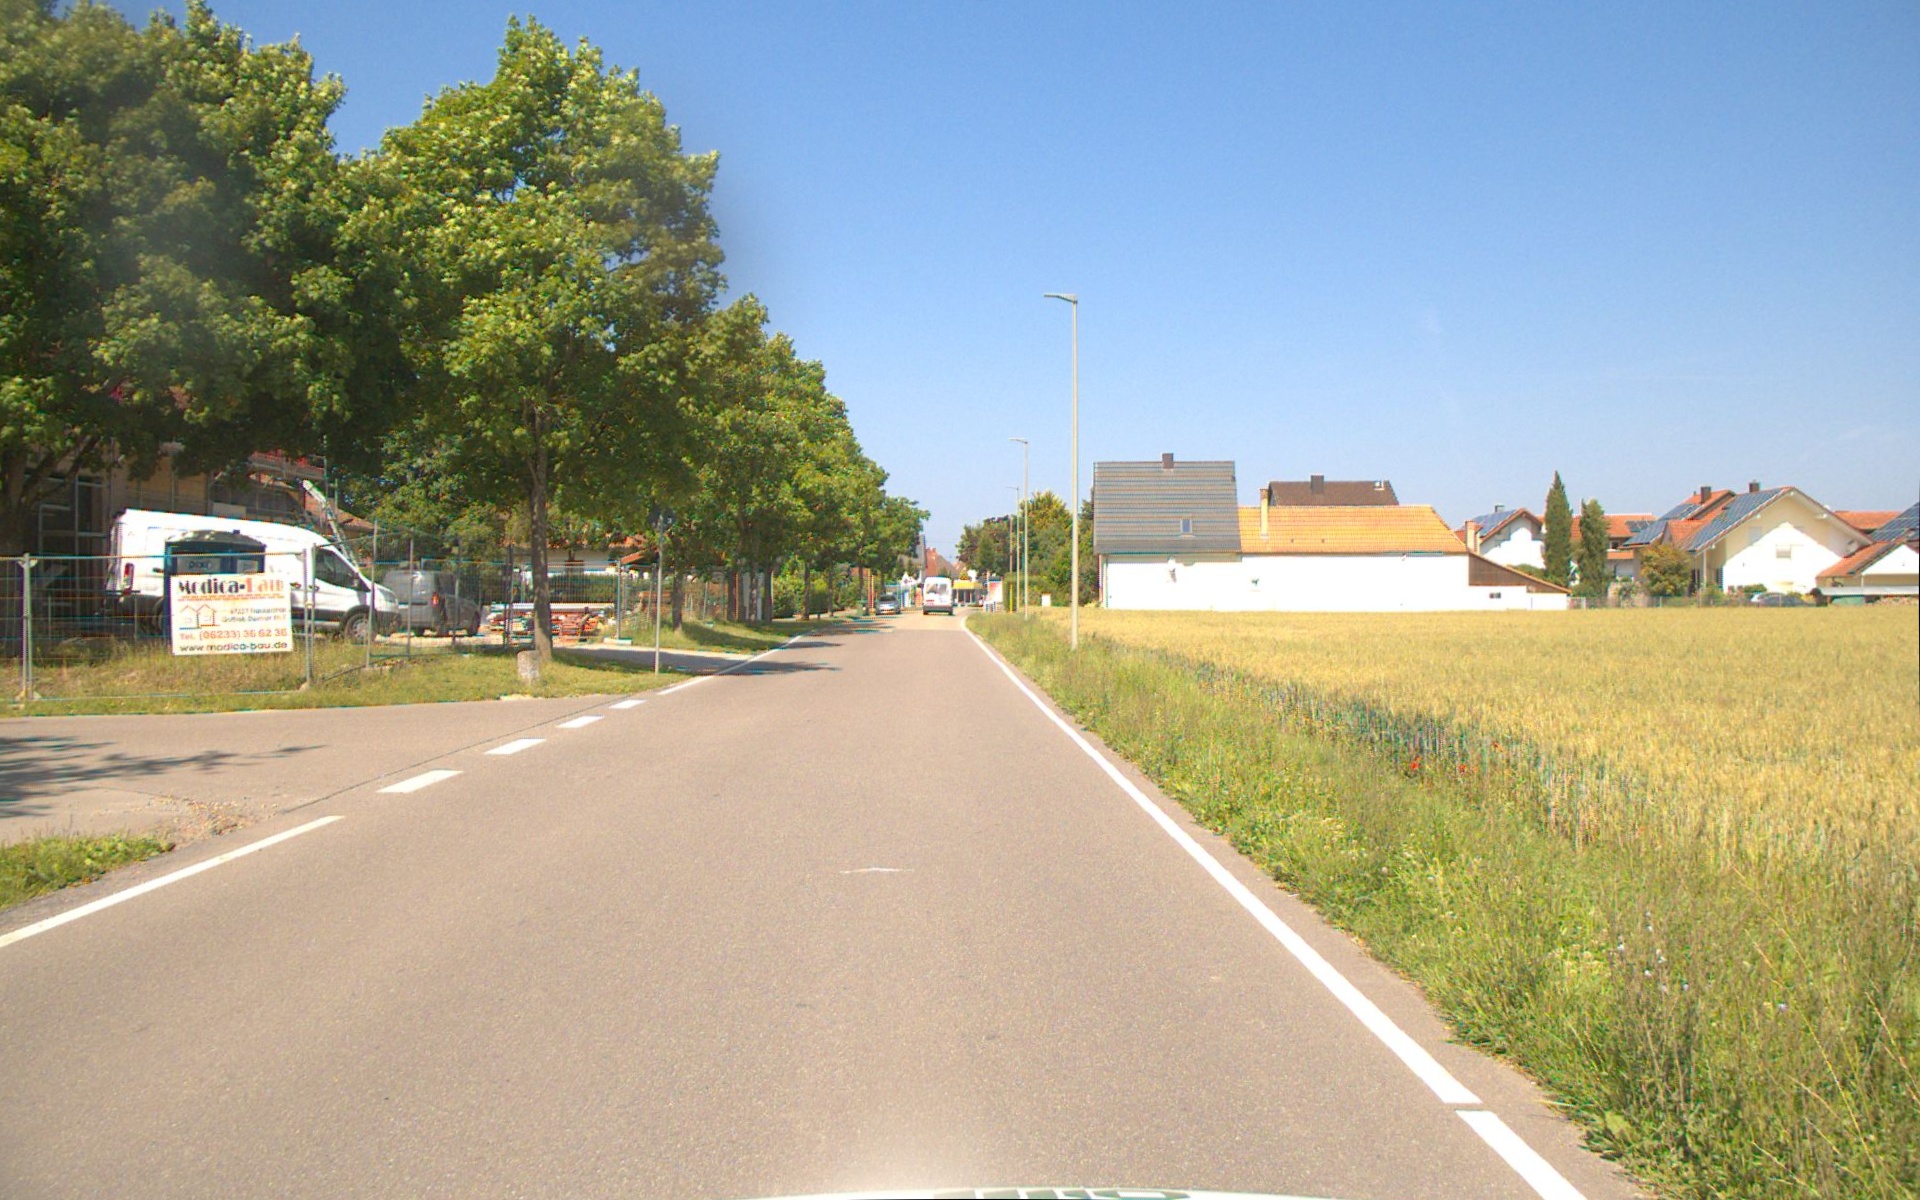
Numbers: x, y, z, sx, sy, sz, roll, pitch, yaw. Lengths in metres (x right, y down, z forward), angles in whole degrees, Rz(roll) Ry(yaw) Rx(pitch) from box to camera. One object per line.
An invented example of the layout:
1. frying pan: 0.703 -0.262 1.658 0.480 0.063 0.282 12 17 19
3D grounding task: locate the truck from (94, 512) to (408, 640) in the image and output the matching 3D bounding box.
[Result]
1. truck: -15.032 -0.465 35.299 5.872 2.527 1.973 0 -1 -39

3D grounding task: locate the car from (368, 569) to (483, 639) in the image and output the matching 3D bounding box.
1. car: -14.983 0.104 46.583 1.930 1.870 4.327 0 0 -2

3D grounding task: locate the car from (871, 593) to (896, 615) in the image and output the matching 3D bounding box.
1. car: -5.561 0.297 120.485 1.614 1.448 4.079 -3 0 -1

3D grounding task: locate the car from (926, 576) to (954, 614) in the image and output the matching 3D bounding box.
1. car: -1.331 -0.348 112.412 1.701 2.474 4.375 -1 0 2
